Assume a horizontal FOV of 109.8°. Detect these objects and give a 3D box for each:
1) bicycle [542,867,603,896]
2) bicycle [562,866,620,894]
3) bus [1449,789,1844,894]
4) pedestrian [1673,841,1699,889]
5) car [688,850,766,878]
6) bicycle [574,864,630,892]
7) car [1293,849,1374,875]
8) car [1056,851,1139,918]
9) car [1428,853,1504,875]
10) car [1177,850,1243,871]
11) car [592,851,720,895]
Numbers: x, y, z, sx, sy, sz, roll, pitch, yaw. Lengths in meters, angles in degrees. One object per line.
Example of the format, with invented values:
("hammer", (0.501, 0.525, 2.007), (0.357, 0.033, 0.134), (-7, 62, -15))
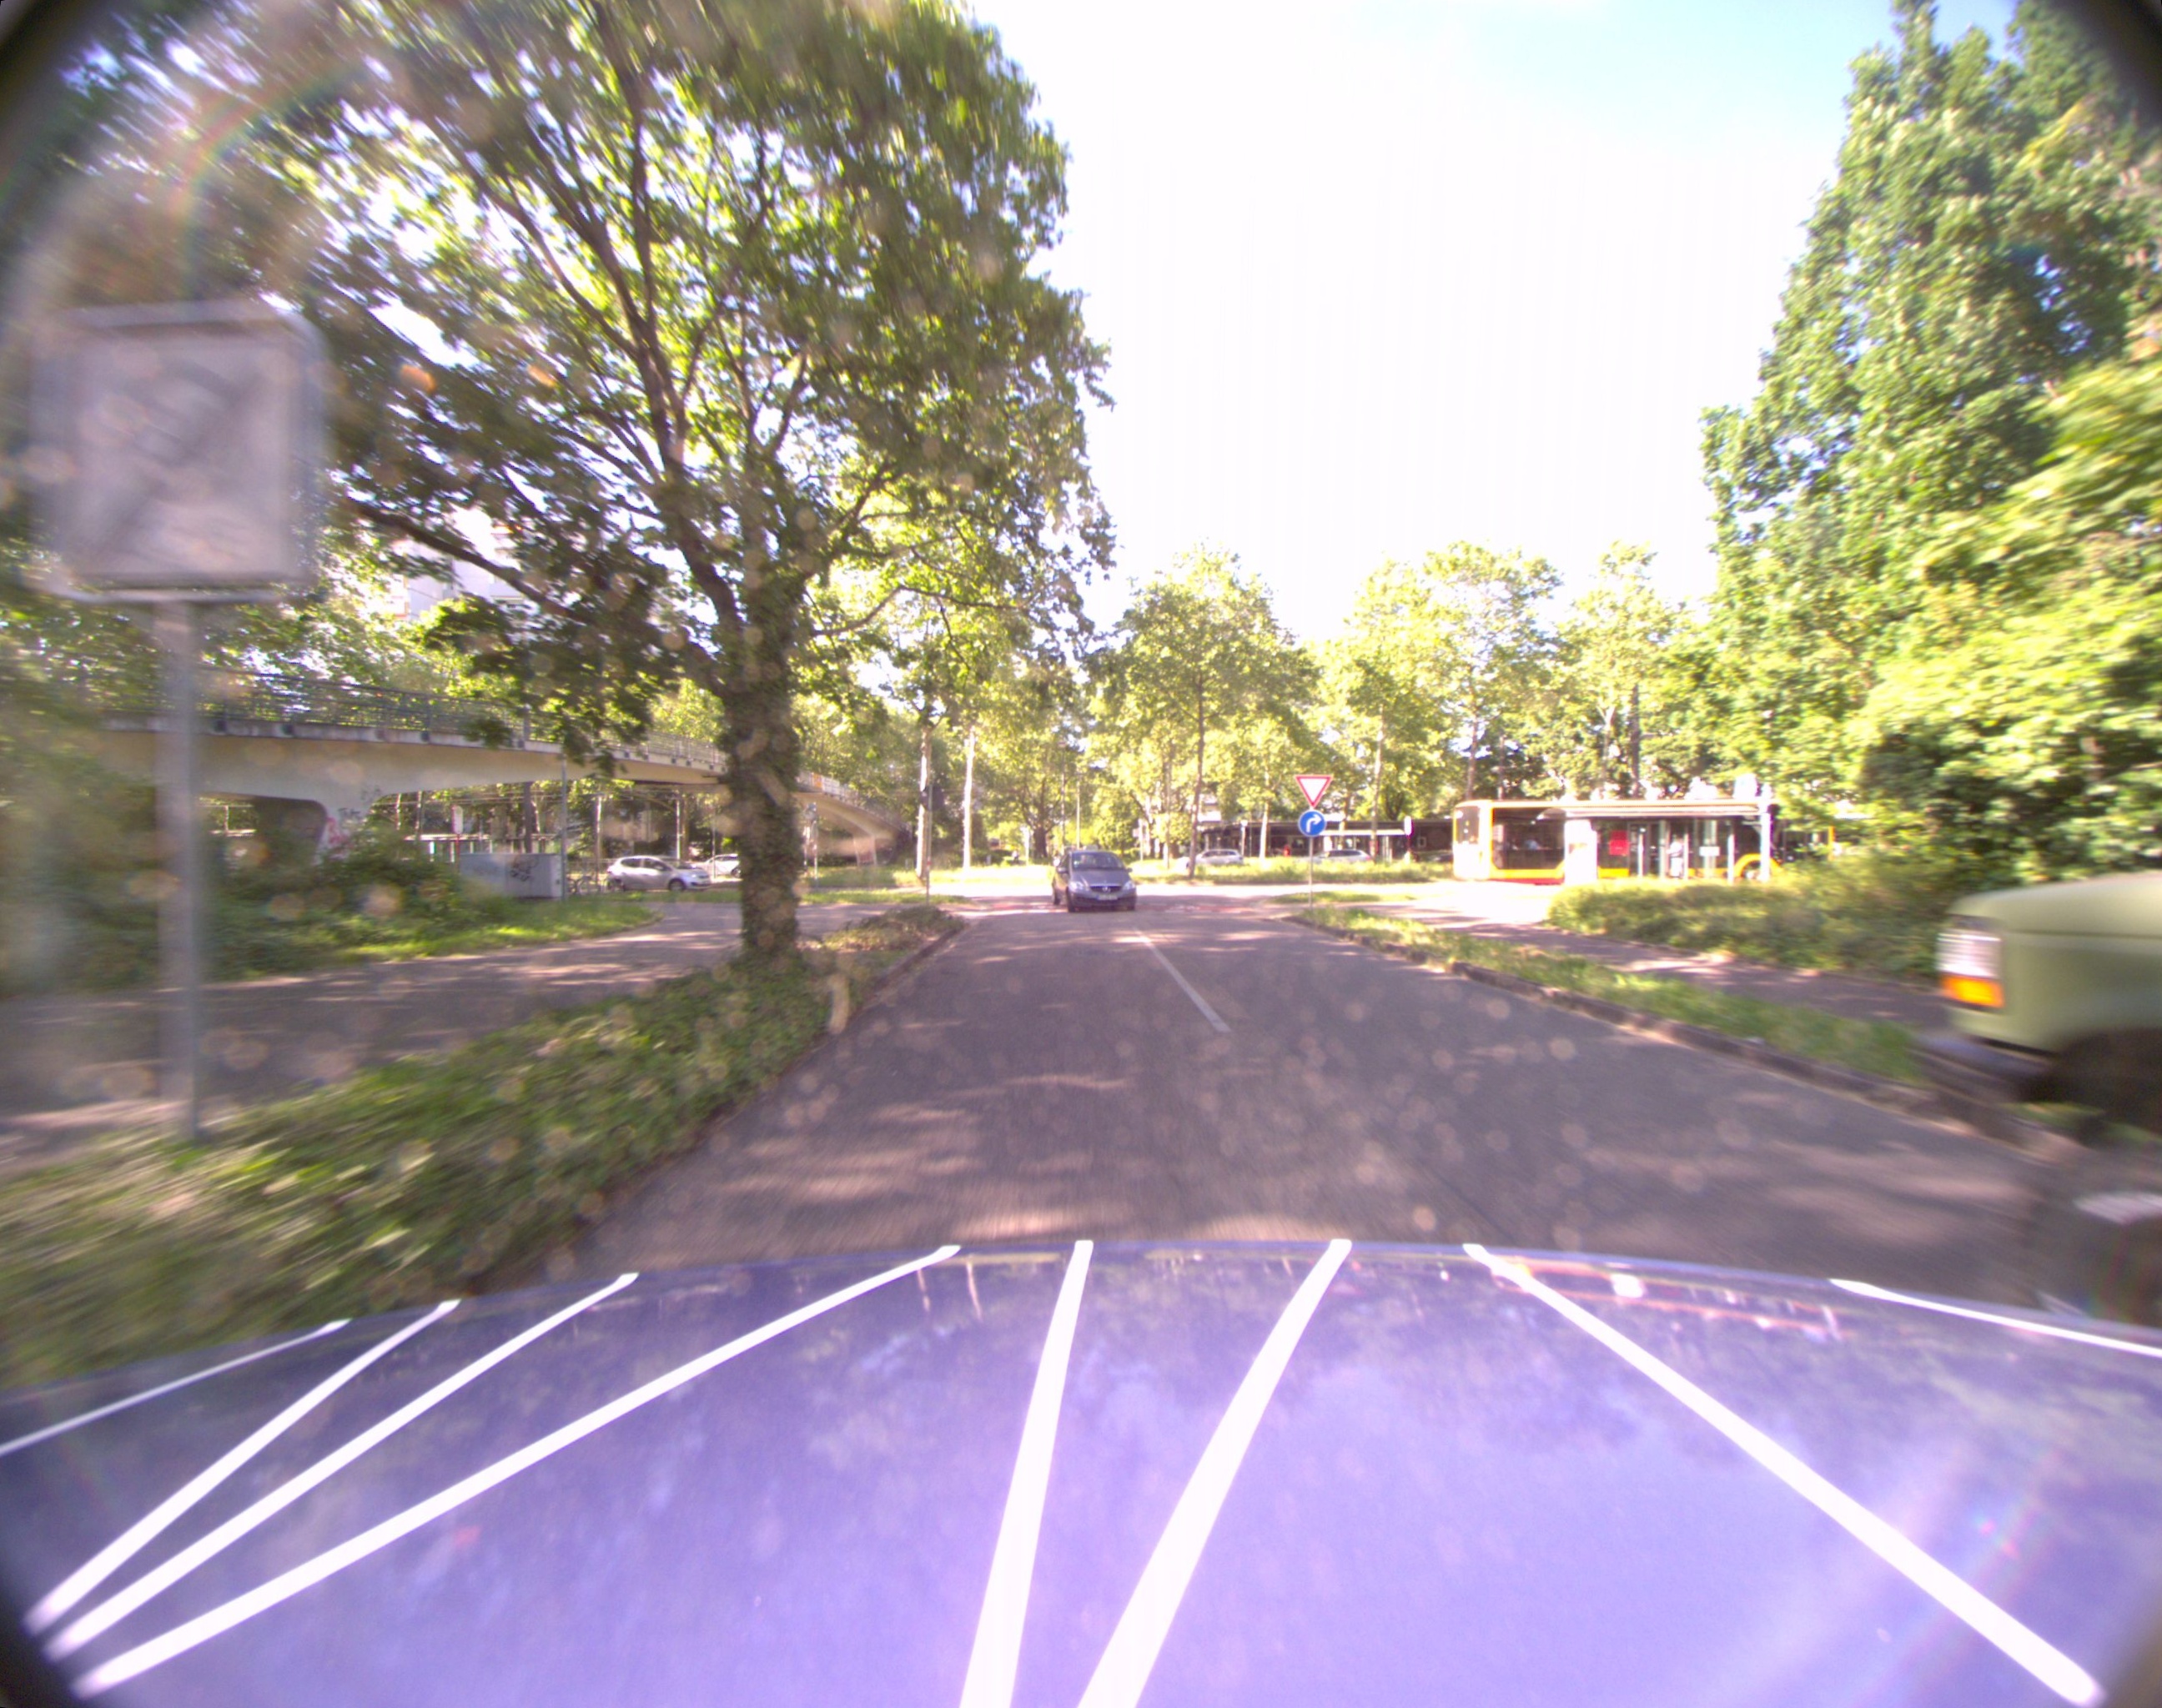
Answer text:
("bicycle", (-17.357, 0.924, 25.961), (1.718, 0.907, 0.513), (-2, 1, 1))
("bicycle", (-17.241, 0.910, 26.726), (1.718, 0.907, 0.459), (-2, 1, 1))
("bus", (20.420, -0.442, 28.025), (12.139, 3.251, 2.698), (-2, 1, 4))
("pedestrian", (20.644, 0.371, 25.934), (0.591, 1.593, 0.478), (-3, 2, -30))
("car", (-23.577, 0.650, 50.702), (4.330, 1.637, 1.720), (-2, 1, 3))
("bicycle", (-17.270, 0.861, 27.419), (1.718, 0.907, 0.459), (-2, 1, 1))
("car", (15.625, 0.483, 47.245), (4.482, 1.384, 1.619), (-2, 1, 2))
("car", (0.338, 0.723, 20.345), (1.735, 1.578, 3.997), (-1, 1, -6))
("car", (24.788, 0.624, 49.003), (4.062, 1.213, 1.619), (-2, 1, 4))
("car", (8.348, 0.436, 49.549), (4.062, 1.213, 1.619), (-2, 1, 4))
("car", (-17.694, 0.763, 31.720), (4.330, 1.637, 1.720), (-2, 1, 3))
